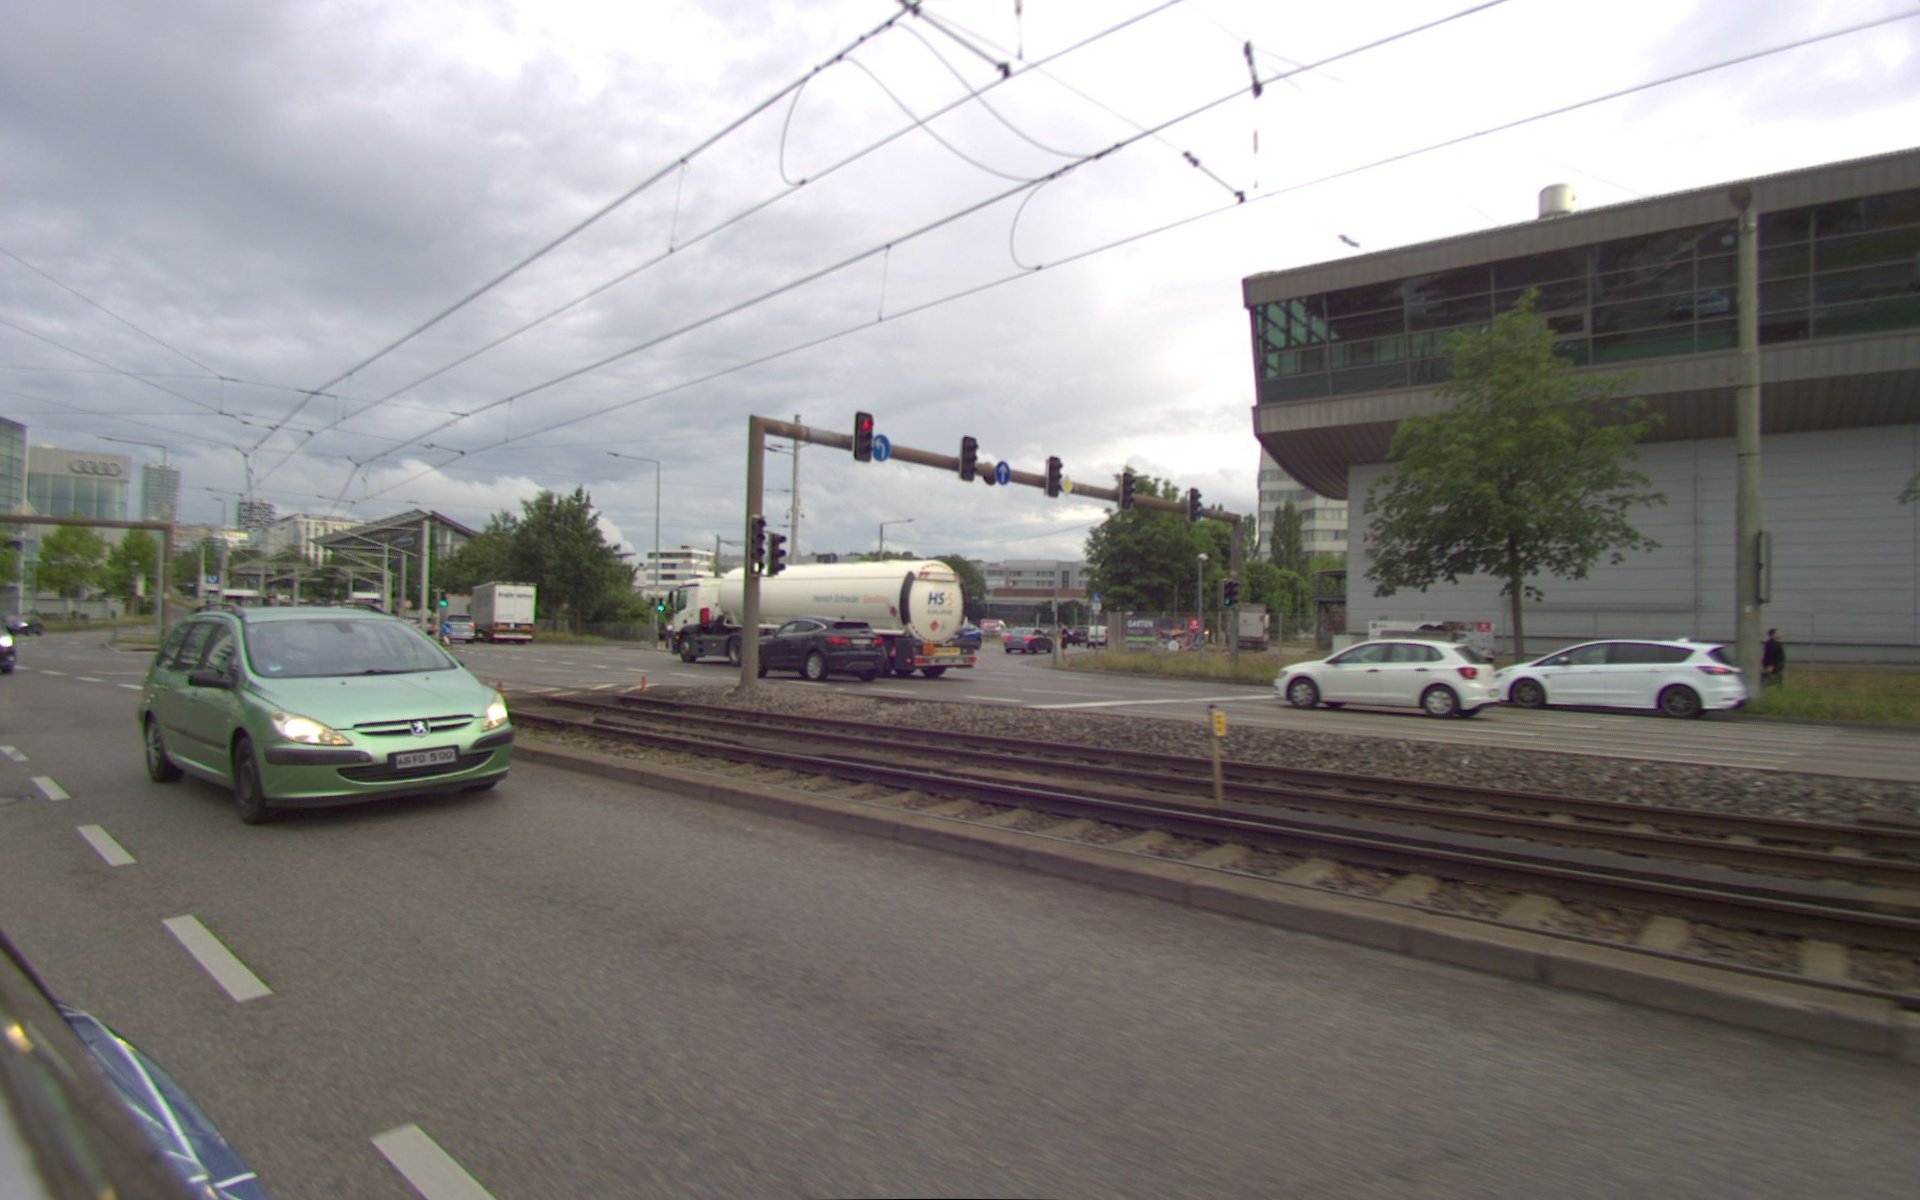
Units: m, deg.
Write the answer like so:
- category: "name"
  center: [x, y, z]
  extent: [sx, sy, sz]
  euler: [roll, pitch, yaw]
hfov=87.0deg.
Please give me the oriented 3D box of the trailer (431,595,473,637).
- category: "trailer"
  center: [-53.734, 1.814, 106.885]
  extent: [2.756, 4.139, 11.475]
  euler: [2, -3, -32]

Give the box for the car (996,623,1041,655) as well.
- category: "car"
  center: [3.252, 2.151, 57.085]
  extent: [1.970, 1.621, 4.648]
  euler: [-1, 0, -3]

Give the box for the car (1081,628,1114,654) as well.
- category: "car"
  center: [10.108, 2.994, 74.155]
  extent: [1.840, 1.698, 3.978]
  euler: [-1, 0, 17]

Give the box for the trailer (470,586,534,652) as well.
- category: "trailer"
  center: [-32.238, 1.319, 70.907]
  extent: [2.613, 4.156, 12.784]
  euler: [2, -2, -30]

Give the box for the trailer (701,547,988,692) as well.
- category: "trailer"
  center: [-4.082, 0.608, 32.051]
  extent: [2.692, 3.884, 11.239]
  euler: [4, -3, -43]

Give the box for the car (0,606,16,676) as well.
- category: "car"
  center: [-22.984, 0.889, 22.858]
  extent: [3.897, 1.534, 1.677]
  euler: [-1, -3, 36]

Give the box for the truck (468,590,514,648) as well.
- category: "truck"
  center: [-35.573, 1.432, 76.684]
  extent: [2.629, 4.161, 6.205]
  euler: [2, -2, -28]

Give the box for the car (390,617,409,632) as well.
- category: "car"
  center: [-65.911, 2.848, 119.026]
  extent: [1.861, 1.664, 4.108]
  euler: [-1, 0, -30]

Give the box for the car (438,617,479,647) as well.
- category: "car"
  center: [-33.085, 2.124, 66.757]
  extent: [1.966, 1.851, 4.922]
  euler: [-1, -2, -32]

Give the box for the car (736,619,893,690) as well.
- category: "car"
  center: [-3.858, 1.344, 26.379]
  extent: [4.198, 1.665, 1.901]
  euler: [0, -1, 44]

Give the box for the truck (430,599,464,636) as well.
- category: "truck"
  center: [-56.864, 1.981, 112.102]
  extent: [2.792, 4.026, 6.004]
  euler: [2, -3, -31]

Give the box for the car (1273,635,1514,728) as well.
- category: "car"
  center: [8.221, 1.473, 19.416]
  extent: [3.991, 1.522, 1.546]
  euler: [0, -2, 43]

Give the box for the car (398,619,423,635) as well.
- category: "car"
  center: [-54.683, 2.662, 100.734]
  extent: [1.877, 1.567, 4.579]
  euler: [-1, 0, -32]

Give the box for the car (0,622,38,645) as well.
- category: "car"
  center: [-70.211, 2.468, 75.128]
  extent: [1.673, 1.534, 3.837]
  euler: [1, 0, -28]

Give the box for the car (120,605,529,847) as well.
- category: "car"
  center: [-5.421, 0.801, 8.371]
  extent: [4.401, 1.479, 1.677]
  euler: [-1, 0, 41]

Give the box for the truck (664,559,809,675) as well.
- category: "truck"
  center: [-8.139, 0.632, 36.484]
  extent: [2.712, 3.834, 5.419]
  euler: [4, -3, -41]

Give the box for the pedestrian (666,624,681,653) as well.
- category: "pedestrian"
  center: [-17.234, 2.321, 60.877]
  extent: [0.716, 1.675, 0.741]
  euler: [0, -1, -35]

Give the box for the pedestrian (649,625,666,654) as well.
- category: "pedestrian"
  center: [-17.929, 2.324, 59.973]
  extent: [0.716, 1.718, 0.741]
  euler: [0, -1, -35]

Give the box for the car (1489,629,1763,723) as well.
- category: "car"
  center: [14.434, 1.575, 22.160]
  extent: [1.780, 1.833, 4.735]
  euler: [3, -3, -45]
